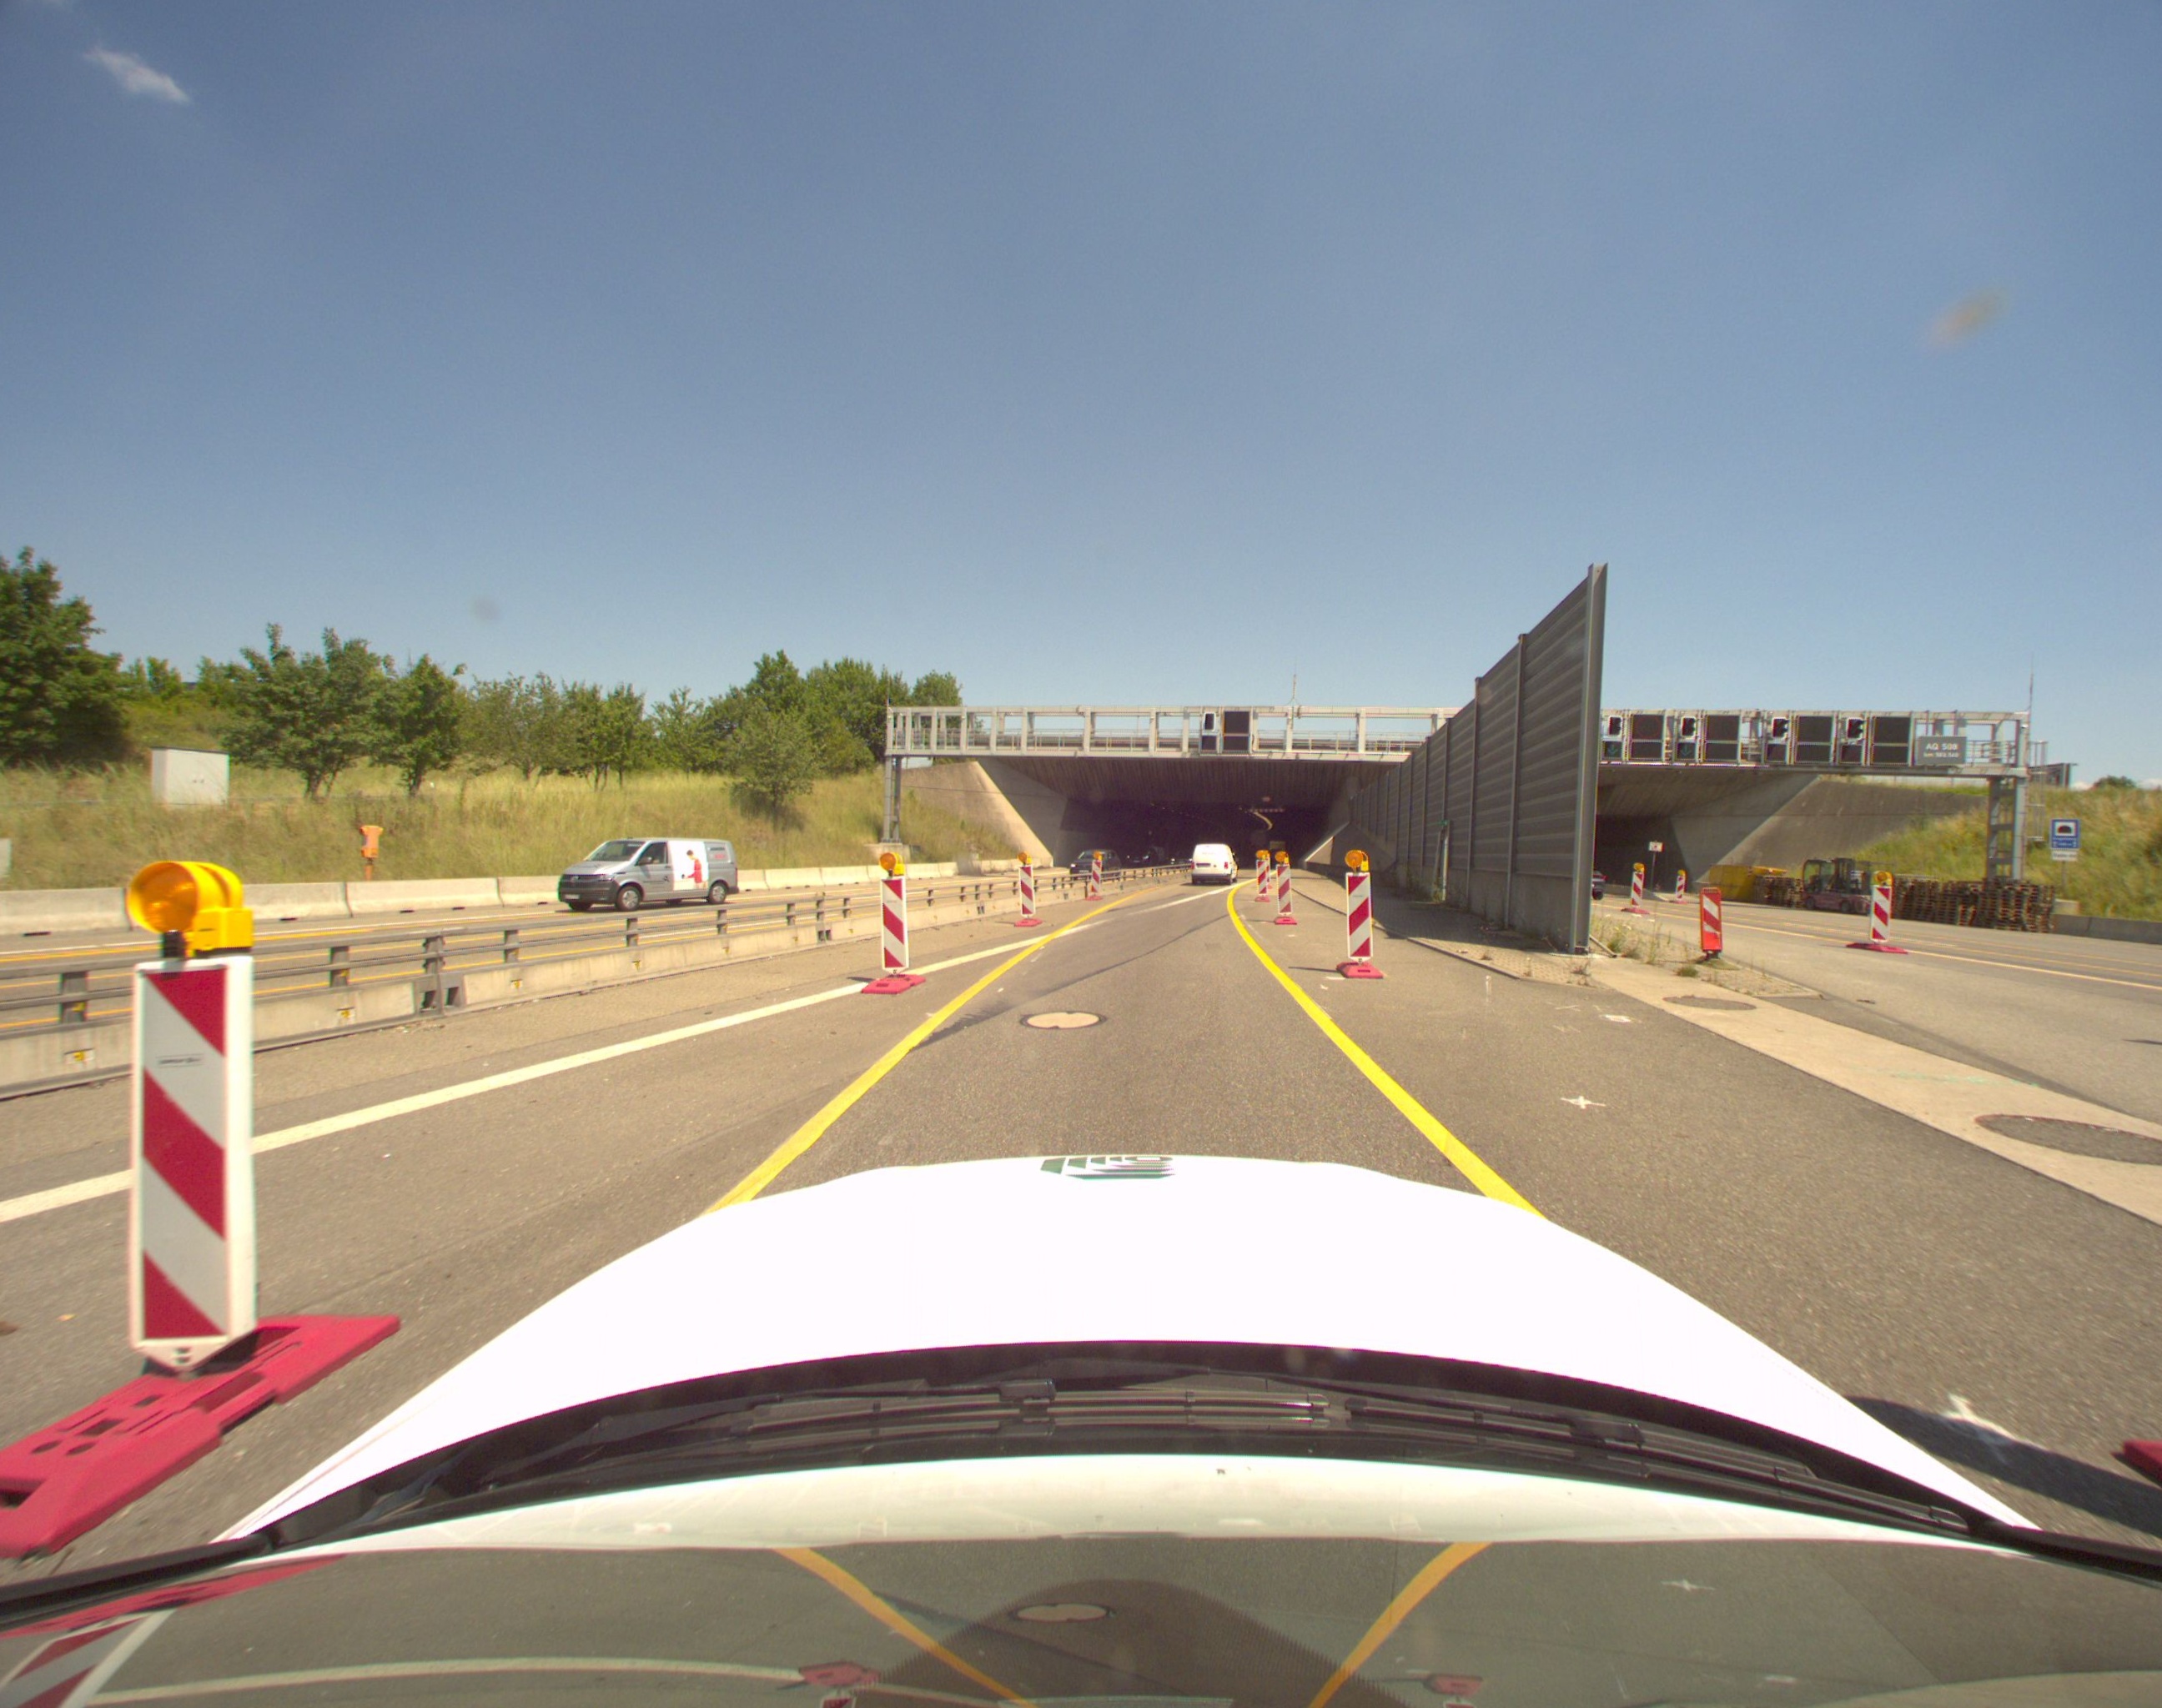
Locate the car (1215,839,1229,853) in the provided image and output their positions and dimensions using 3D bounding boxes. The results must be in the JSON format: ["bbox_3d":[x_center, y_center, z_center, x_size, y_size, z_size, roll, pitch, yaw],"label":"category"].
[{"bbox_3d":[25.558,-1.448,147.516,1.980,2.515,6.064,-1,1,13],"label":"car"}]

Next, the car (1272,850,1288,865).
[{"bbox_3d":[25.307,0.436,103.617,1.796,1.751,4.425,1,0,13],"label":"car"}]

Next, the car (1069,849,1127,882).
[{"bbox_3d":[0.940,0.552,42.349,1.728,1.593,4.249,0,0,20],"label":"car"}]

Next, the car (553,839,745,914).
[{"bbox_3d":[-11.664,0.561,22.417,1.673,1.834,4.810,-1,-1,19],"label":"car"}]

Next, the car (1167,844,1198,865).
[{"bbox_3d":[8.401,0.020,67.026,1.760,1.593,5.008,-1,1,16],"label":"car"}]

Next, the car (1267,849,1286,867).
[{"bbox_3d":[20.521,0.375,85.675,1.796,1.815,4.425,1,0,13],"label":"car"}]

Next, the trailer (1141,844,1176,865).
[{"bbox_3d":[7.033,0.031,73.370,1.930,1.805,5.549,-1,1,19],"label":"trailer"}]

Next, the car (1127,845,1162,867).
[{"bbox_3d":[5.345,0.146,68.431,1.759,1.727,4.891,-1,1,19],"label":"car"}]

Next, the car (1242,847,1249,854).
[{"bbox_3d":[51.696,-1.180,255.974,2.062,2.021,4.671,-1,1,7],"label":"car"}]

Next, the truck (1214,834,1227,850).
[{"bbox_3d":[33.693,-2.932,196.930,2.792,3.915,6.476,-1,0,11],"label":"truck"}]

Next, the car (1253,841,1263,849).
[{"bbox_3d":[45.753,-2.324,210.422,1.929,2.021,4.671,-1,1,7],"label":"car"}]

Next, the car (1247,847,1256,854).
[{"bbox_3d":[49.402,-1.126,235.741,2.062,2.021,4.671,-1,1,7],"label":"car"}]

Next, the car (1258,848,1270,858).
[{"bbox_3d":[39.353,-0.295,175.360,1.929,2.021,4.671,0,1,7],"label":"car"}]

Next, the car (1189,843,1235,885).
[{"bbox_3d":[6.045,0.424,37.204,1.796,1.794,3.744,1,0,12],"label":"car"}]

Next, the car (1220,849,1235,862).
[{"bbox_3d":[20.005,0.191,111.338,1.761,1.577,4.462,-1,1,13],"label":"car"}]

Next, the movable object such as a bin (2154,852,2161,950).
[{"bbox_3d":[33.389,1.473,17.530,3.093,3.010,14.738,1,0,9],"label":"movable object such as a bin"}]

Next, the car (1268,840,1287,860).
[{"bbox_3d":[30.084,-0.570,124.729,2.794,2.773,7.126,1,-1,13],"label":"car"}]

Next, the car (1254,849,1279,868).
[{"bbox_3d":[15.936,0.404,69.843,1.795,1.537,4.427,1,0,15],"label":"car"}]

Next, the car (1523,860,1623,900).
[{"bbox_3d":[21.853,1.105,36.414,1.984,1.486,4.685,3,1,6],"label":"car"}]
